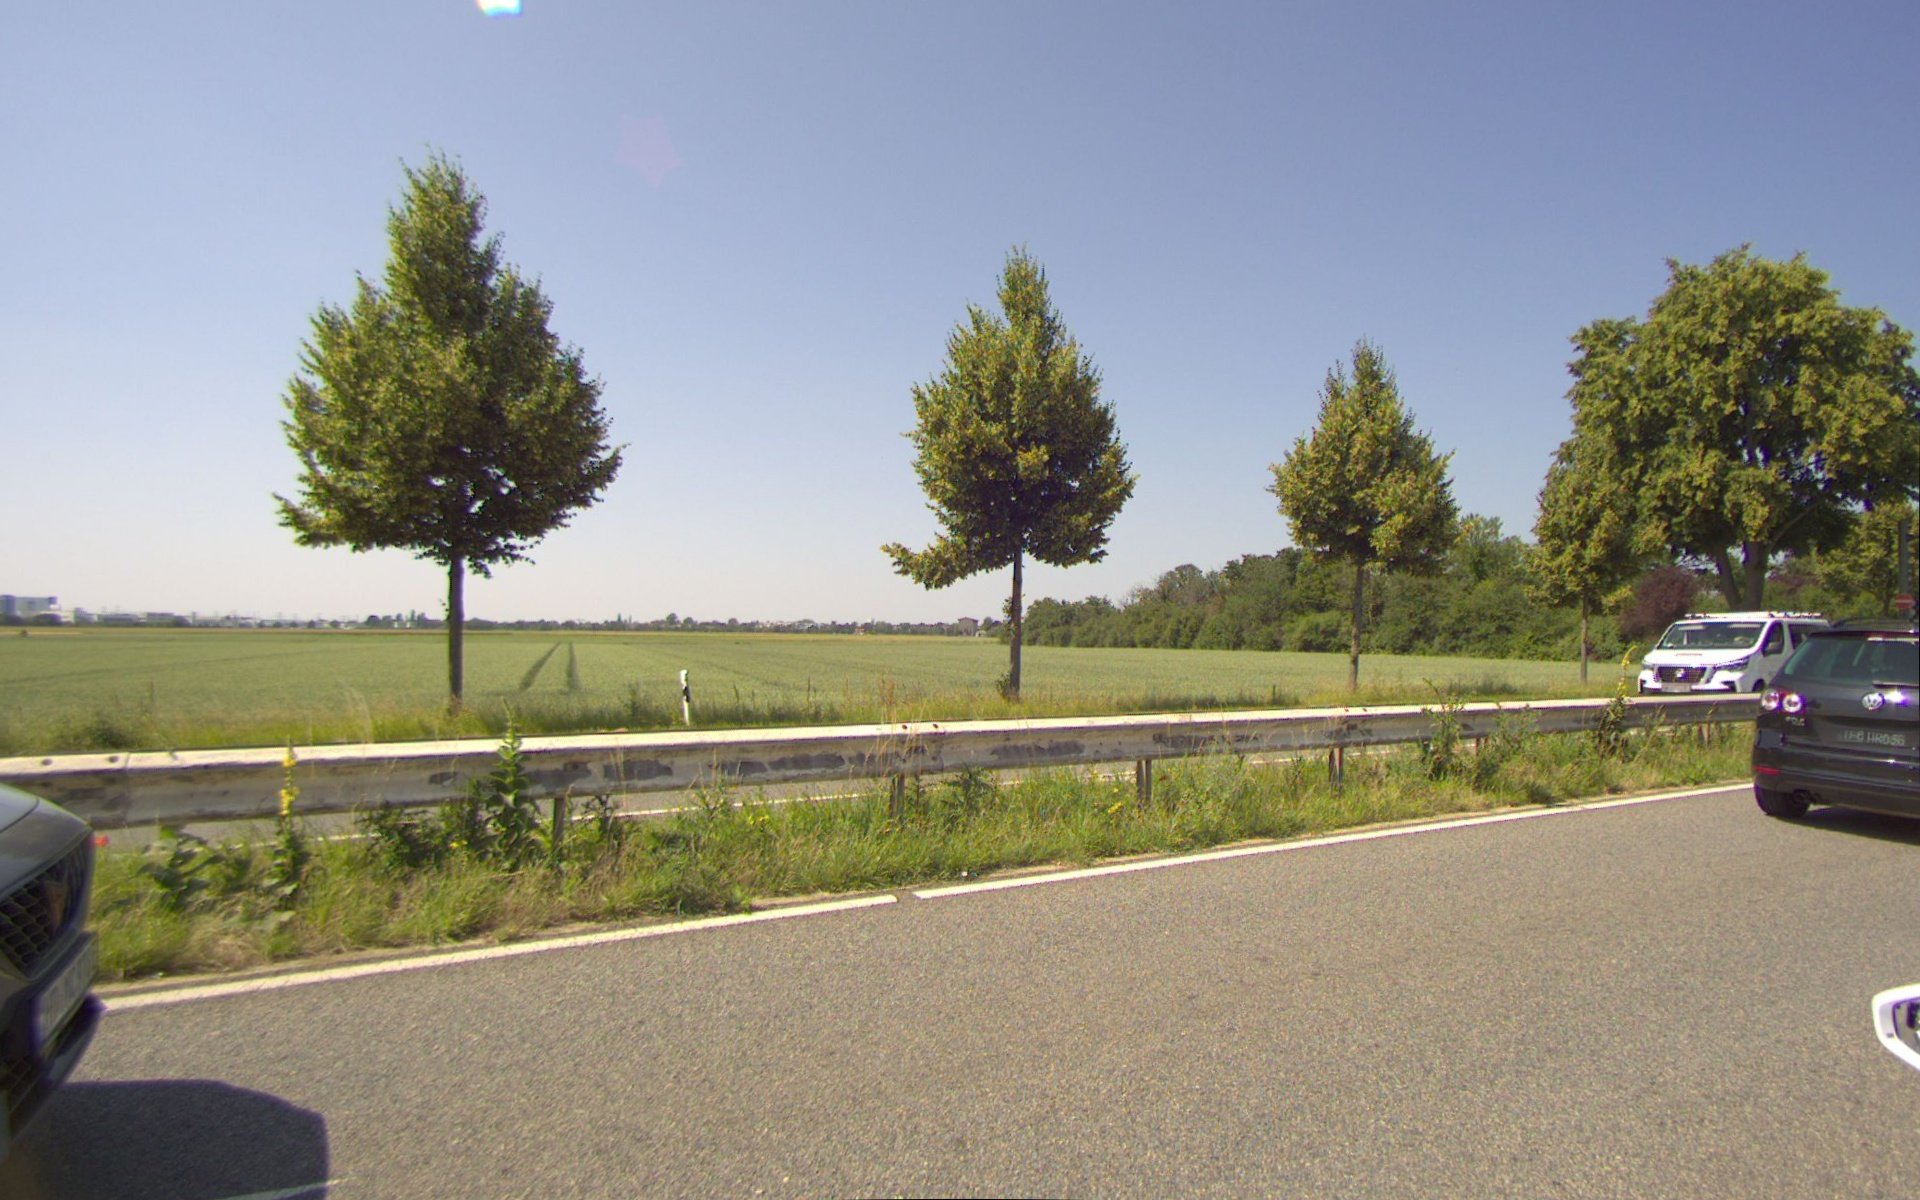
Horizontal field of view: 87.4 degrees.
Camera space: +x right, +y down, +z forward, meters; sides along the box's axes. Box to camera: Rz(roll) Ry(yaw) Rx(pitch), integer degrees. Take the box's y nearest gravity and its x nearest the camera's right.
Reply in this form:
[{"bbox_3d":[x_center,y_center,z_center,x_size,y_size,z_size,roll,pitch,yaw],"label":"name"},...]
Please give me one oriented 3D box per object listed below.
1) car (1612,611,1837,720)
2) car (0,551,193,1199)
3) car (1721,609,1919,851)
[{"bbox_3d":[15.744,1.275,20.630,4.958,2.006,1.984,1,-2,-31],"label":"car"},{"bbox_3d":[-3.847,0.629,1.283,4.311,1.523,1.737,1,0,-30],"label":"car"},{"bbox_3d":[7.940,0.914,7.895,3.845,1.596,1.716,1,0,-29],"label":"car"}]
